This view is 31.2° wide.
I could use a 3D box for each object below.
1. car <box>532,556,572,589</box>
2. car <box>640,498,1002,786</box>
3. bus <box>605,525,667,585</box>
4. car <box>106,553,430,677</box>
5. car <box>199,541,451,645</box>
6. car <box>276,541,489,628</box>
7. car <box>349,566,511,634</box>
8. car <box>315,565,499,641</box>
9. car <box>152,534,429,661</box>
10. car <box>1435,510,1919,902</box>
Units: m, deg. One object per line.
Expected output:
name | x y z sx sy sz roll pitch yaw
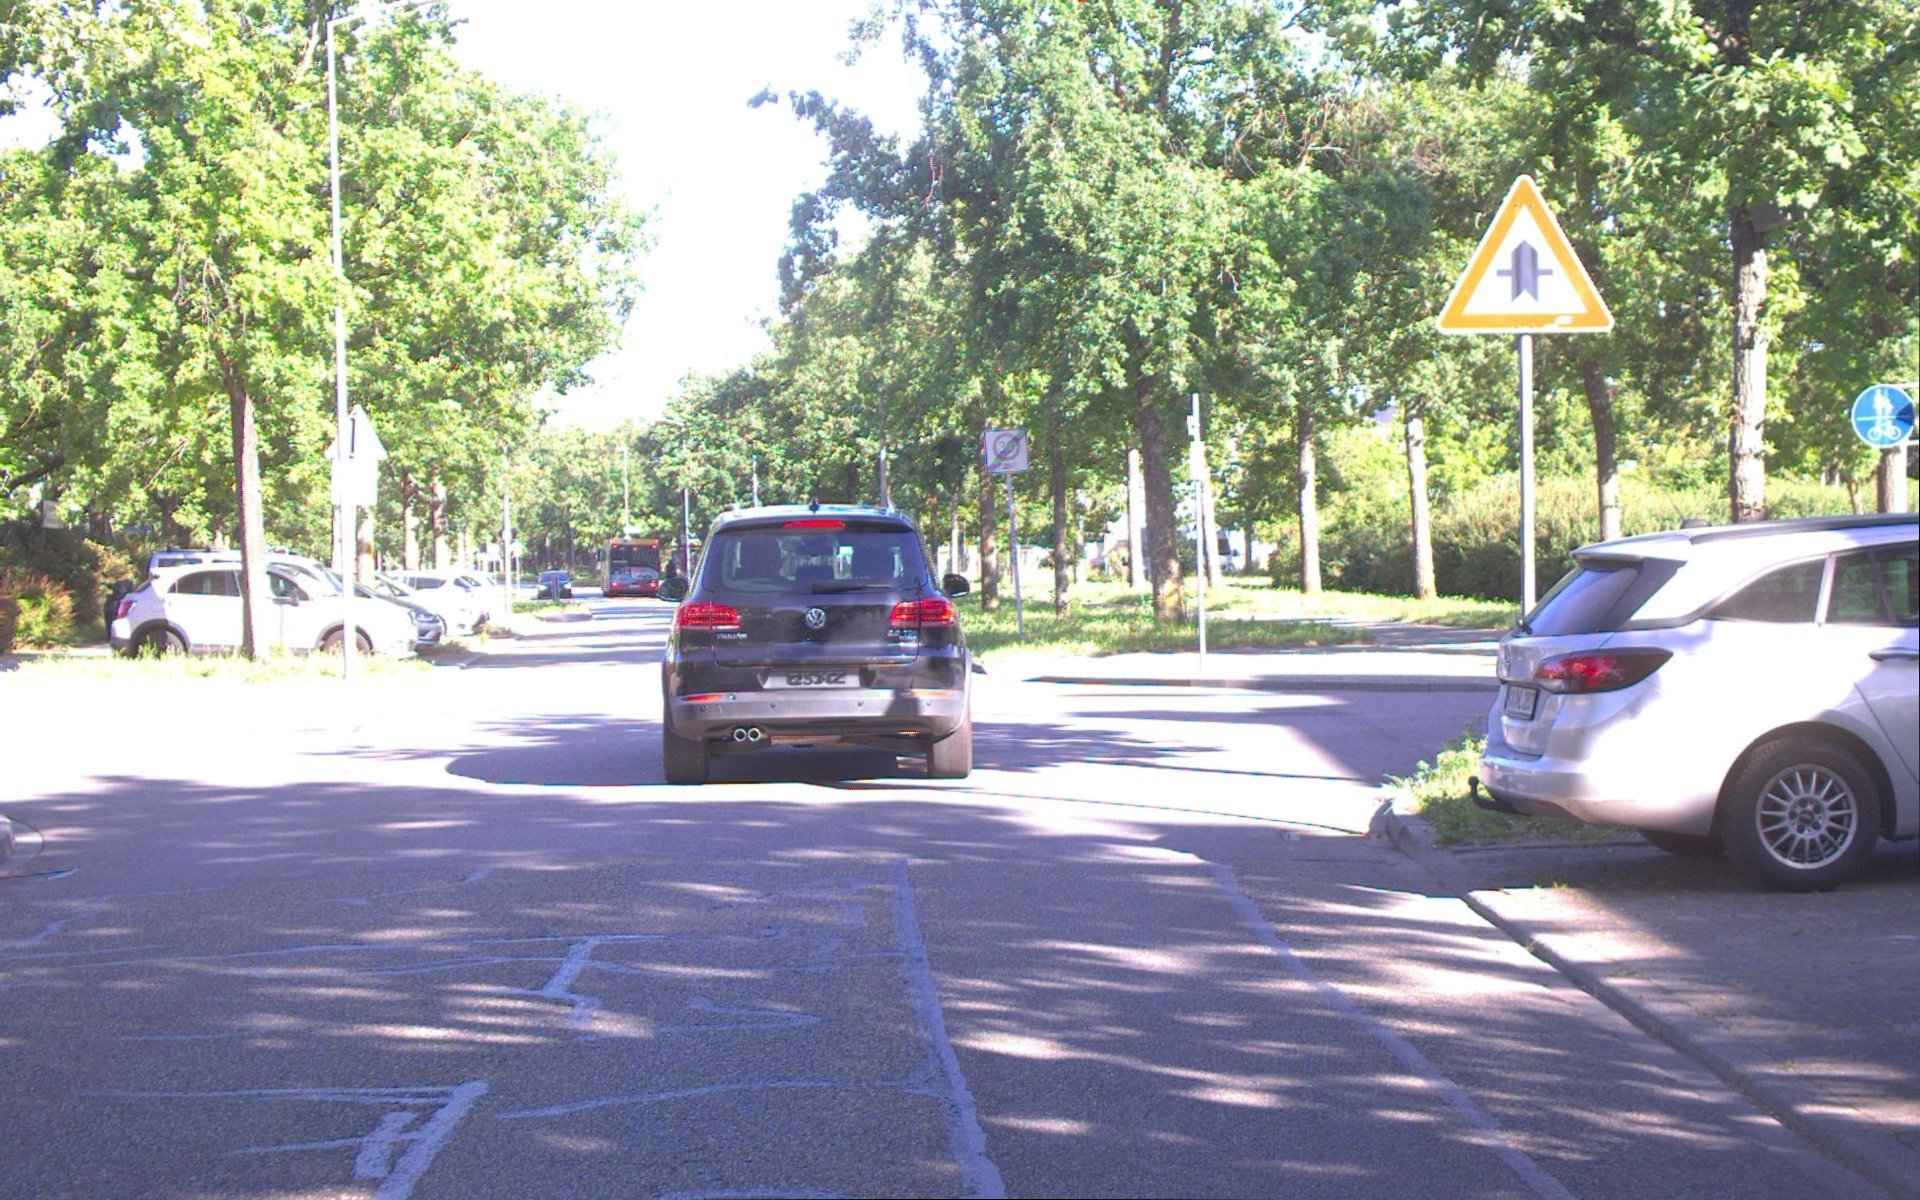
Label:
car | -21.466 -1.432 180.917 1.852 1.687 3.956 -2 0 -4
car | -0.773 0.210 21.599 1.838 1.631 3.957 -1 1 4
bus | -16.785 -2.300 178.353 2.928 2.993 5.738 -2 0 -3
car | -9.760 0.200 48.745 4.241 1.617 1.897 -1 0 -4
car | -10.876 -0.133 59.090 4.015 1.642 1.897 -2 1 -4
car | -11.584 -0.318 69.155 4.015 1.642 1.811 -1 0 -4
car | -13.823 -0.015 89.857 4.015 1.642 1.811 -1 1 -4
car | -12.760 0.064 79.535 4.015 1.642 1.811 -1 0 -4
car | -10.511 -0.061 54.193 4.016 1.833 1.897 -2 1 -4
car | 4.355 0.358 14.489 4.428 1.486 1.797 -2 1 1
